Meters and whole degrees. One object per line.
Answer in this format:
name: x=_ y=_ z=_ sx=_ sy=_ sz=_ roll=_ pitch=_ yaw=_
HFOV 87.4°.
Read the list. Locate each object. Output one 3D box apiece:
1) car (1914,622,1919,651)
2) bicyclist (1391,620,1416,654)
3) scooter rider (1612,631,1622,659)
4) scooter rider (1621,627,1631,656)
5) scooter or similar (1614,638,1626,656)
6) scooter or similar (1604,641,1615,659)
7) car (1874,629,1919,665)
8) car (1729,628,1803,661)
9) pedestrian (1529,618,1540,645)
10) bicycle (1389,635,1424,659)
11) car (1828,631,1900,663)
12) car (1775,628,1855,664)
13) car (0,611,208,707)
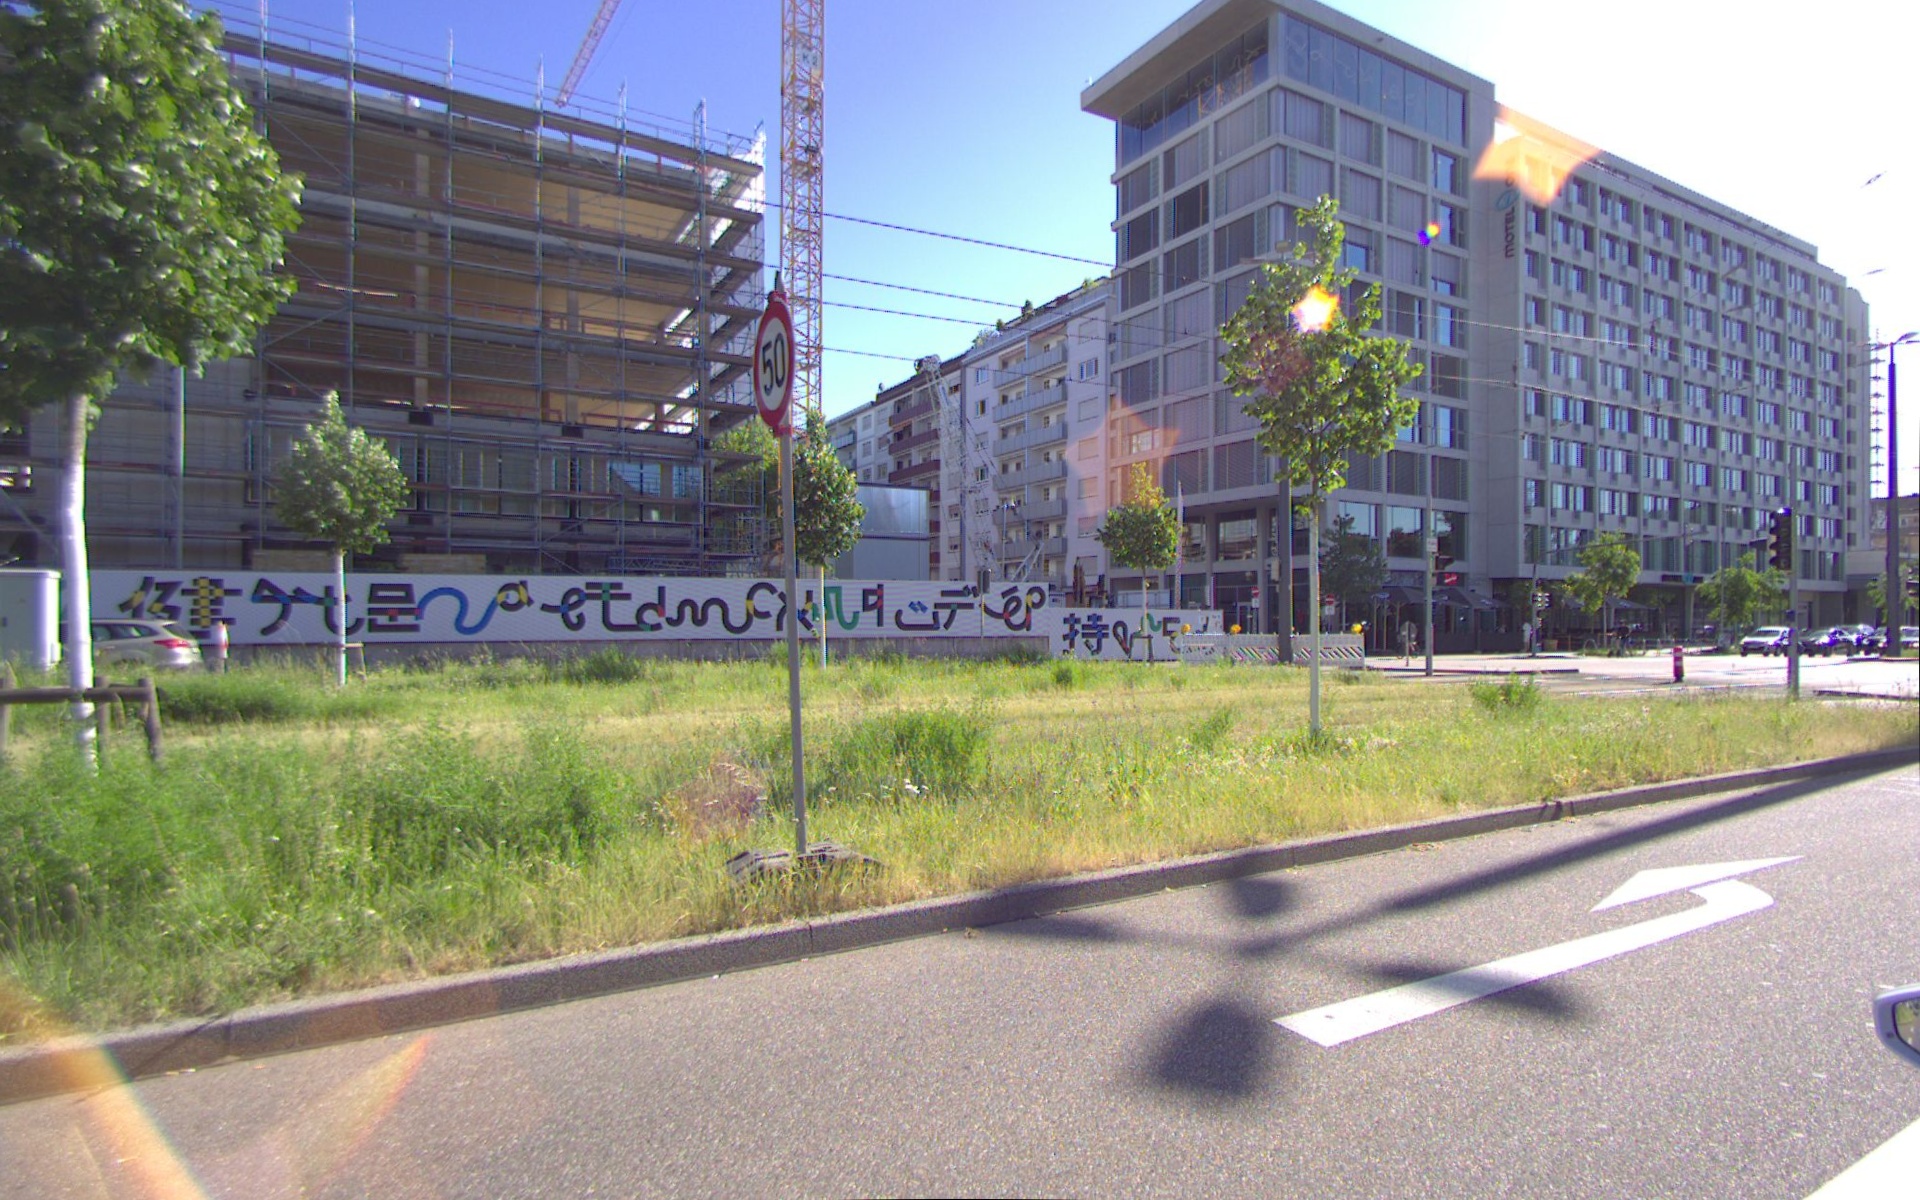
car: x=57.573 y=2.140 z=58.570 sx=3.953 sy=1.673 sz=1.782 roll=1 pitch=-1 yaw=-30
bicyclist: x=21.163 y=1.762 z=47.936 sx=0.881 sy=1.601 sz=0.591 roll=1 pitch=1 yaw=-27
scooter rider: x=34.464 y=2.351 z=52.702 sx=0.236 sy=1.472 sz=0.341 roll=1 pitch=-1 yaw=-30
scooter rider: x=34.203 y=2.146 z=51.597 sx=0.236 sy=1.472 sz=0.341 roll=1 pitch=-1 yaw=-30
scooter or similar: x=33.984 y=2.415 z=51.719 sx=0.758 sy=0.960 sz=0.227 roll=1 pitch=-1 yaw=-30
scooter or similar: x=34.171 y=2.634 z=52.854 sx=0.760 sy=0.960 sz=0.283 roll=1 pitch=-1 yaw=-38
car: x=45.701 y=2.212 z=47.988 sx=4.283 sy=1.673 sz=1.782 roll=1 pitch=-1 yaw=-30
car: x=42.956 y=2.347 z=53.513 sx=3.953 sy=1.673 sz=1.782 roll=1 pitch=-1 yaw=-30
pedestrian: x=32.661 y=1.797 z=57.093 sx=0.338 sy=1.513 sz=0.414 roll=1 pitch=-1 yaw=-30
bicycle: x=21.268 y=2.232 z=47.836 sx=1.601 sy=1.115 sz=0.584 roll=2 pitch=0 yaw=-27
car: x=48.964 y=2.510 z=54.377 sx=3.953 sy=1.673 sz=1.782 roll=1 pitch=-1 yaw=-30
car: x=42.334 y=2.244 z=49.729 sx=3.953 sy=1.673 sz=1.782 roll=1 pitch=-1 yaw=-30
car: x=-18.040 y=1.133 z=20.180 sx=4.474 sy=1.816 sz=1.984 roll=1 pitch=-1 yaw=-31
